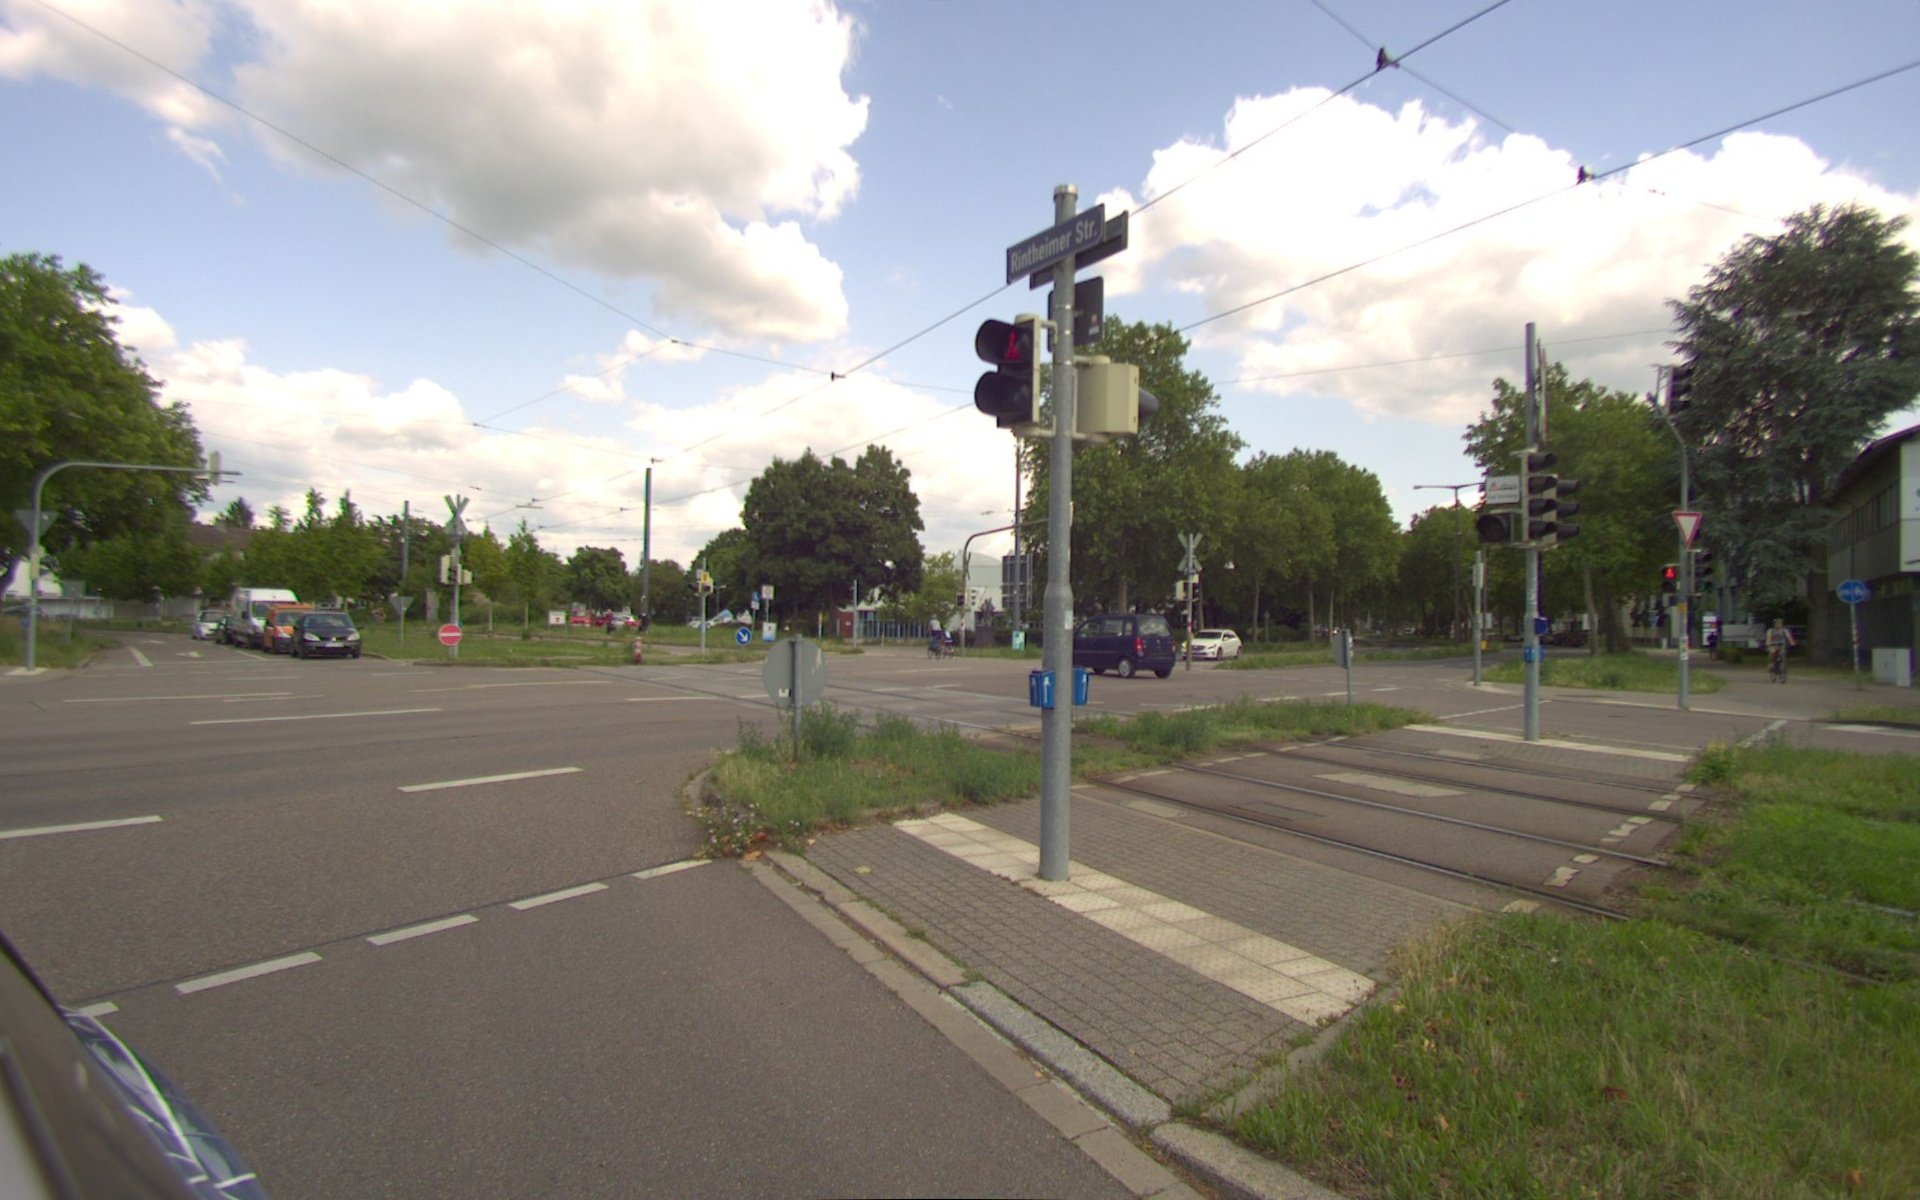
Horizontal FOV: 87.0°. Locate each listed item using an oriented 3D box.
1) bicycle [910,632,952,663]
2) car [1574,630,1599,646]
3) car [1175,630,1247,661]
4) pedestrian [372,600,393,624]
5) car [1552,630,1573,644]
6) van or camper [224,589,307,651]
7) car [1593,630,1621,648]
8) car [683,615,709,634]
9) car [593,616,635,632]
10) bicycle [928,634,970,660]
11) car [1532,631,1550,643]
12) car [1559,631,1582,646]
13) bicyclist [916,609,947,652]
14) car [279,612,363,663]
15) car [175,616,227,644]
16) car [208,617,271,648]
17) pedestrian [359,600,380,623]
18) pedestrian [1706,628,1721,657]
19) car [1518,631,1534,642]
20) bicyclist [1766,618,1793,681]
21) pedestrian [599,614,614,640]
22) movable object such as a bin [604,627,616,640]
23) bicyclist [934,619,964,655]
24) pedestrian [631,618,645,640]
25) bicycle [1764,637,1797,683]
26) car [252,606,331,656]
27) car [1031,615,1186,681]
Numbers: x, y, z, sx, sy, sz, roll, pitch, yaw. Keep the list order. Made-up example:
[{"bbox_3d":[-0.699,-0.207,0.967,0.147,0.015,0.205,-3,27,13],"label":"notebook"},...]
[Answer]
[{"bbox_3d":[-1.185,1.903,40.893,0.935,1.163,1.990,2,-2,-28],"label":"bicycle"},{"bbox_3d":[68.241,4.149,110.255,1.991,1.586,3.962,-1,0,28],"label":"car"},{"bbox_3d":[11.864,2.114,47.696,1.828,1.375,4.085,0,-2,38],"label":"car"},{"bbox_3d":[-51.019,1.053,89.400,1.172,2.029,1.095,0,-2,31],"label":"pedestrian"},{"bbox_3d":[75.727,4.584,127.272,1.991,1.586,3.962,-1,0,28],"label":"car"},{"bbox_3d":[-30.429,0.901,44.250,1.953,2.544,6.041,3,-3,-44],"label":"van or camper"},{"bbox_3d":[63.631,3.800,99.606,1.991,1.586,3.962,-1,0,28],"label":"car"},{"bbox_3d":[-24.148,2.251,92.394,1.965,1.652,4.404,1,-1,-19],"label":"car"},{"bbox_3d":[-34.466,2.401,100.899,3.931,1.541,2.006,1,-2,-18],"label":"car"},{"bbox_3d":[-0.493,1.951,42.412,0.935,1.048,1.990,2,-2,-28],"label":"bicycle"},{"bbox_3d":[81.580,5.161,142.150,1.991,1.586,3.962,-1,0,28],"label":"car"},{"bbox_3d":[71.233,4.467,118.096,1.991,1.586,3.962,-1,0,28],"label":"car"},{"bbox_3d":[-1.144,1.232,40.859,0.946,1.735,0.838,2,-2,-28],"label":"bicyclist"},{"bbox_3d":[-21.804,1.245,34.480,1.709,1.643,4.057,2,-2,-42],"label":"car"},{"bbox_3d":[-40.864,1.614,54.447,1.784,1.442,4.387,2,-2,-43],"label":"car"},{"bbox_3d":[-34.947,1.554,49.058,1.785,1.442,4.472,2,-3,-45],"label":"car"},{"bbox_3d":[-51.584,1.005,88.402,1.172,2.029,1.095,0,-2,30],"label":"pedestrian"},{"bbox_3d":[41.817,2.344,56.142,0.622,1.581,0.552,-1,0,40],"label":"pedestrian"},{"bbox_3d":[86.515,5.532,154.838,1.991,1.586,3.962,-1,0,28],"label":"car"},{"bbox_3d":[24.176,1.437,29.858,0.539,1.823,0.538,-1,0,34],"label":"bicyclist"},{"bbox_3d":[-23.018,1.736,65.924,0.636,1.657,0.606,-1,0,32],"label":"pedestrian"},{"bbox_3d":[-22.699,2.143,65.723,0.458,0.817,0.573,-1,0,30],"label":"movable object such as a bin"},{"bbox_3d":[-0.476,1.560,42.416,0.946,1.500,0.838,2,-2,-28],"label":"bicyclist"},{"bbox_3d":[-20.993,1.881,65.961,0.641,1.364,0.753,-1,0,-44],"label":"pedestrian"},{"bbox_3d":[24.144,1.751,29.798,0.539,1.245,1.930,-1,0,33],"label":"bicycle"},{"bbox_3d":[-25.934,1.187,39.193,1.855,1.813,4.375,2,-2,-42],"label":"car"},{"bbox_3d":[3.926,1.230,27.262,1.700,1.629,4.006,2,-2,-40],"label":"car"}]
